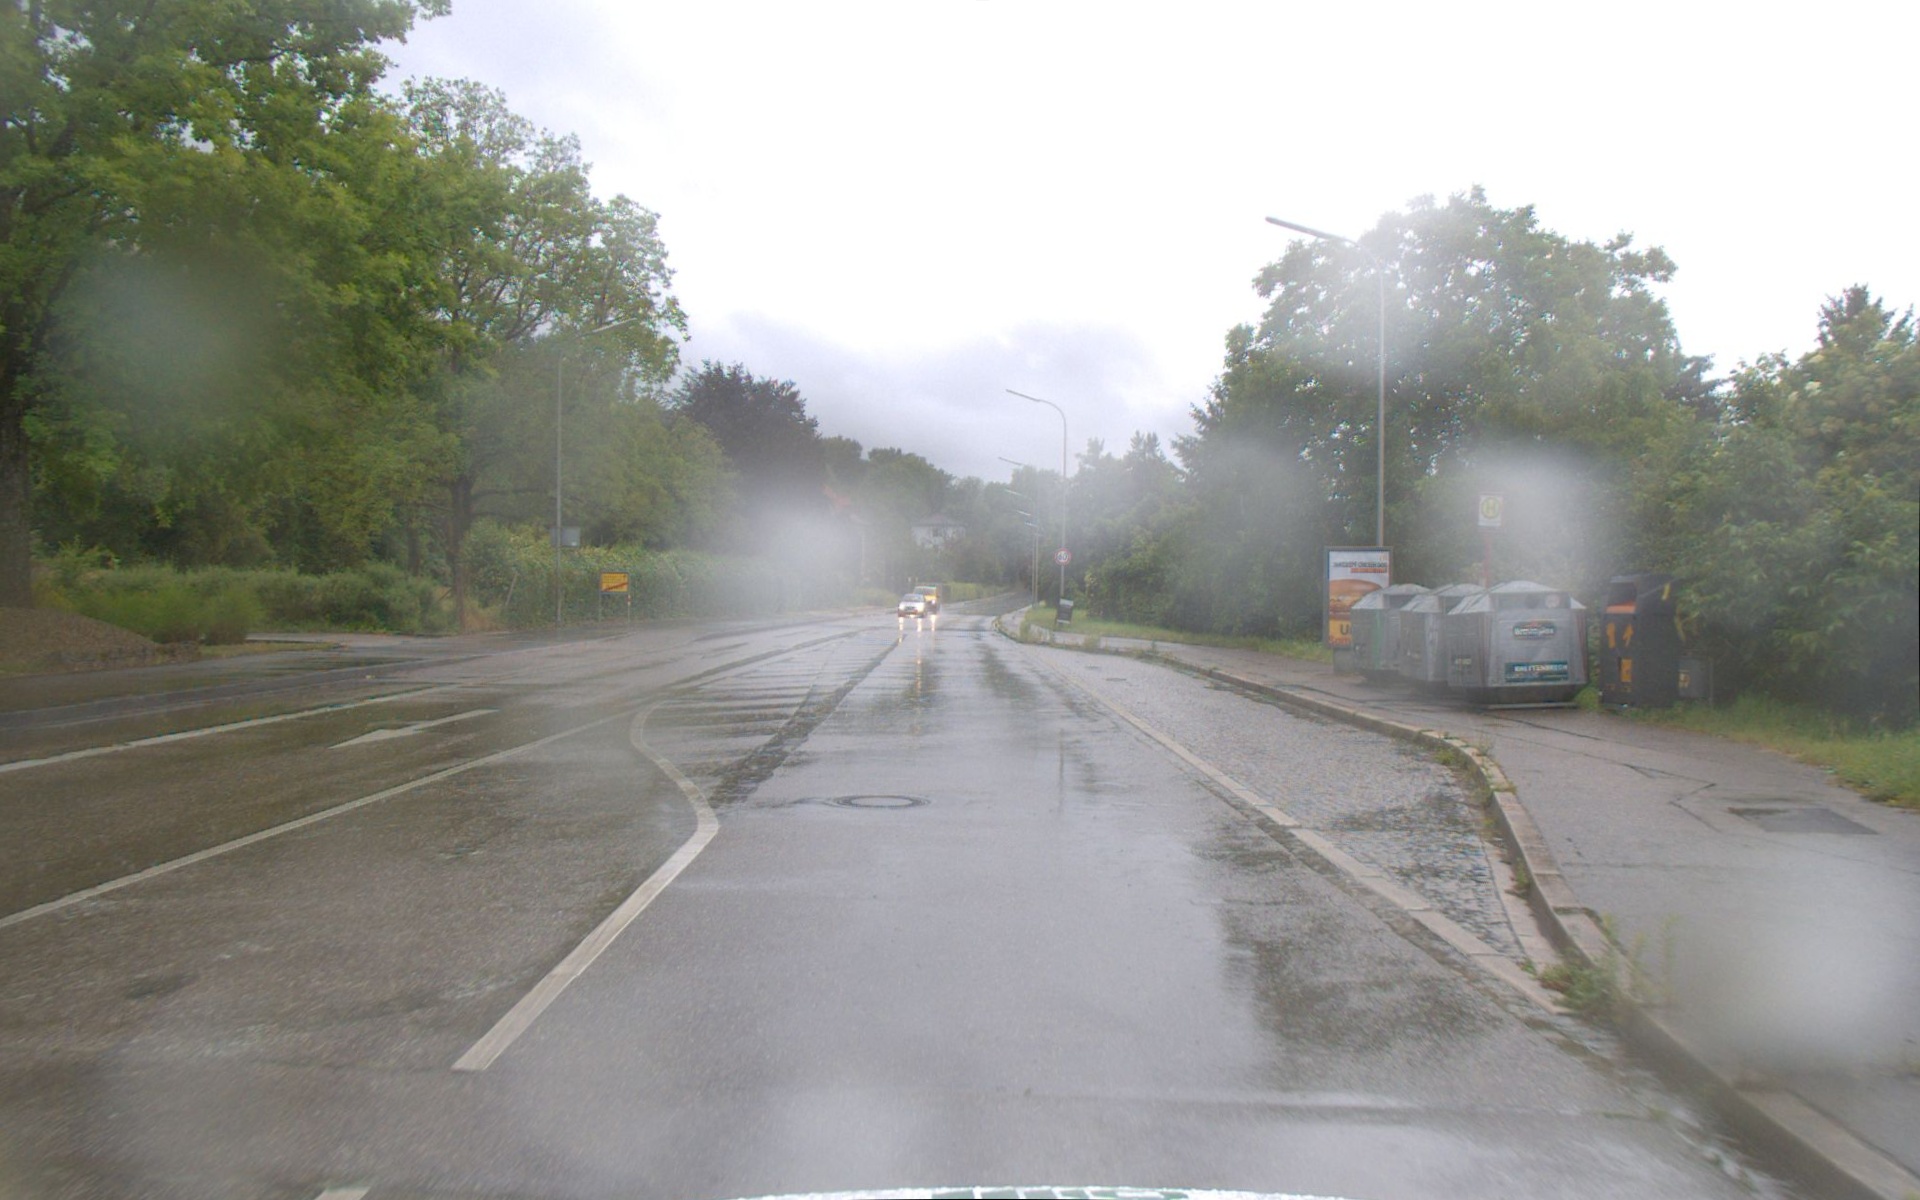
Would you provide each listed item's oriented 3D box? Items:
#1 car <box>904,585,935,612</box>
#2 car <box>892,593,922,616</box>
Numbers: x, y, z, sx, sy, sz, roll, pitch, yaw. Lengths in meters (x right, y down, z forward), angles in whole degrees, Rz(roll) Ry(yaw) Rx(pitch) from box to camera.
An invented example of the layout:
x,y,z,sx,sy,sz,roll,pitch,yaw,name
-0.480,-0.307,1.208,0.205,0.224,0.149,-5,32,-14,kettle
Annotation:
x,y,z,sx,sy,sz,roll,pitch,yaw,name
-2.898,-0.110,119.164,1.897,1.904,5.037,1,0,2,car
-3.263,0.259,102.007,1.666,1.373,3.906,1,0,1,car
